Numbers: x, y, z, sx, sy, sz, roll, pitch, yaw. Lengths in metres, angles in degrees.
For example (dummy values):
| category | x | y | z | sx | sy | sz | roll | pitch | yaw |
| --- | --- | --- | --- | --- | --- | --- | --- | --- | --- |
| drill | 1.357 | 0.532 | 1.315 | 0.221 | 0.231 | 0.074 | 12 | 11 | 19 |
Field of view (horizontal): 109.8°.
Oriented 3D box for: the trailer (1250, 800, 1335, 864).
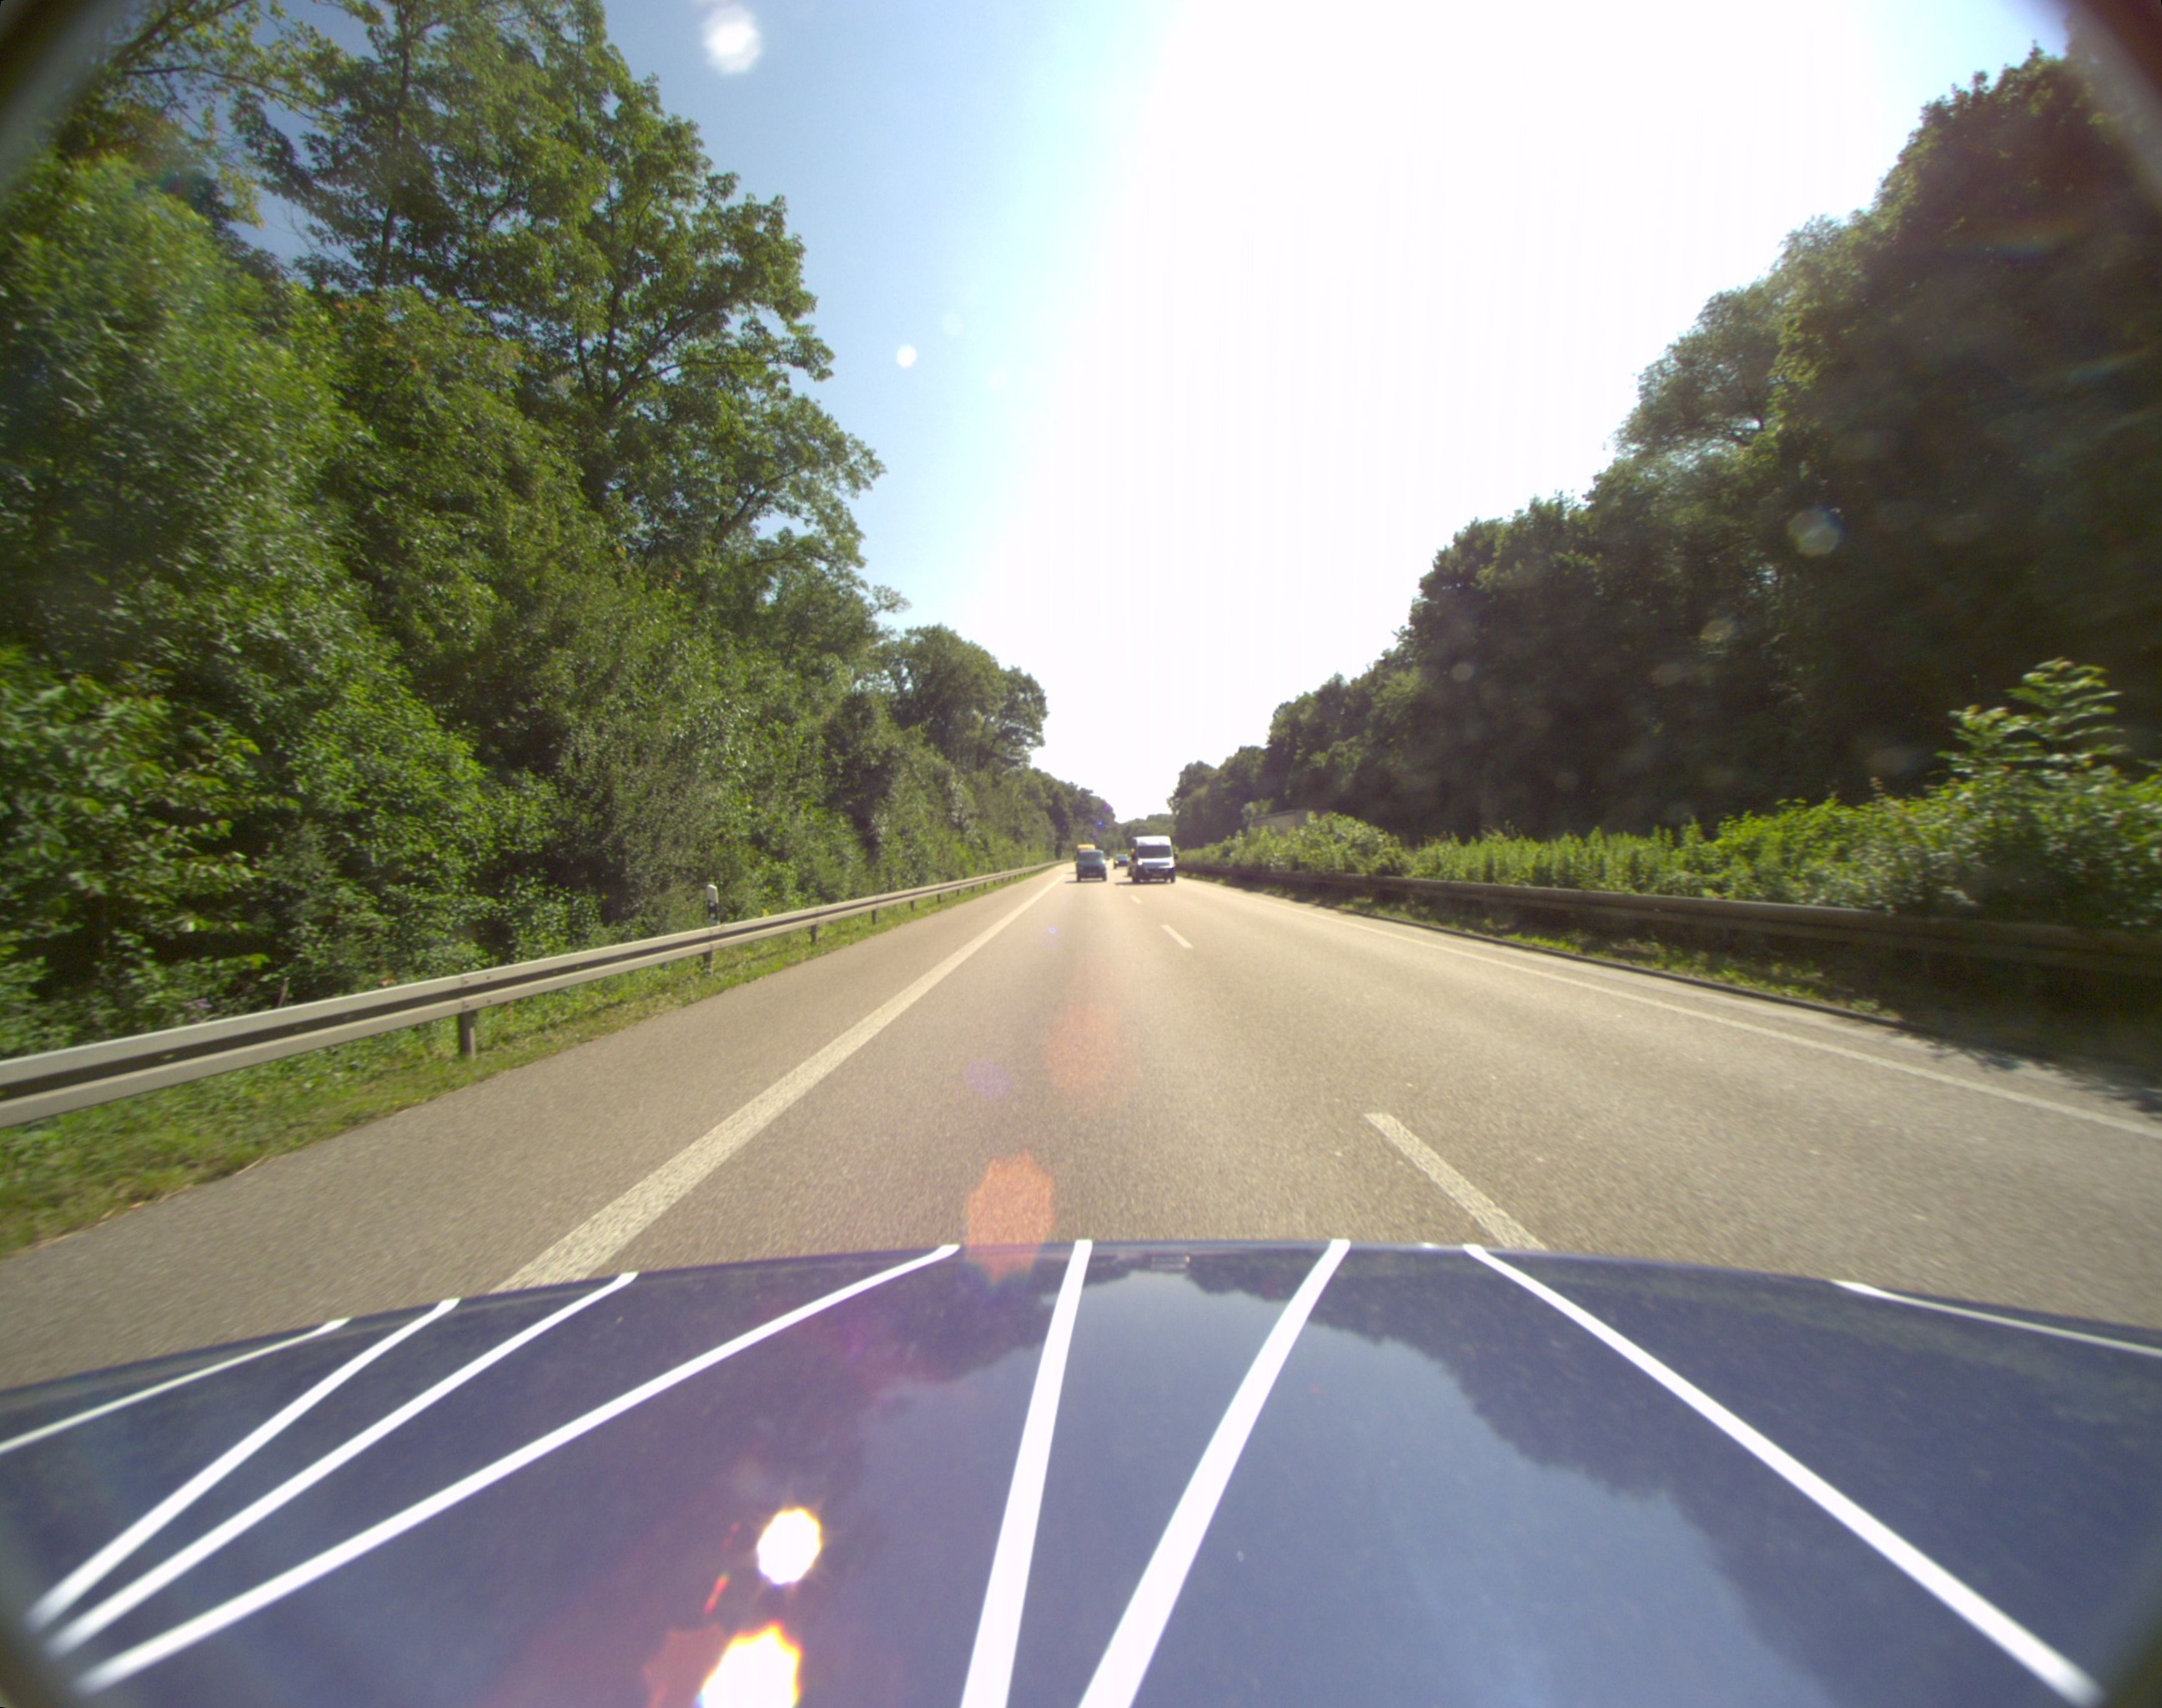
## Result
| category | x | y | z | sx | sy | sz | roll | pitch | yaw |
| --- | --- | --- | --- | --- | --- | --- | --- | --- | --- |
| trailer | 15.944 | -1.575 | 58.601 | 2.836 | 4.275 | 13.662 | -2 | 1 | 1 |

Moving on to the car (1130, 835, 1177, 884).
| category | x | y | z | sx | sy | sz | roll | pitch | yaw |
| --- | --- | --- | --- | --- | --- | --- | --- | --- | --- |
| car | 3.831 | 0.249 | 40.737 | 2.046 | 2.429 | 4.637 | -2 | 1 | 1 |

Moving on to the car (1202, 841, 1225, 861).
| category | x | y | z | sx | sy | sz | roll | pitch | yaw |
| --- | --- | --- | --- | --- | --- | --- | --- | --- | --- |
| car | 12.330 | -0.294 | 70.962 | 1.611 | 1.696 | 3.481 | -2 | 1 | 1 |

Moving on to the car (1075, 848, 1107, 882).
| category | x | y | z | sx | sy | sz | roll | pitch | yaw |
| --- | --- | --- | --- | --- | --- | --- | --- | --- | --- |
| car | 0.620 | 0.602 | 46.981 | 1.812 | 1.921 | 4.581 | -2 | 1 | 1 |

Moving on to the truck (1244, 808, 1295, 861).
| category | x | y | z | sx | sy | sz | roll | pitch | yaw |
| --- | --- | --- | --- | --- | --- | --- | --- | --- | --- |
| truck | 16.064 | -1.657 | 65.161 | 2.724 | 4.219 | 6.536 | -2 | 1 | 1 |

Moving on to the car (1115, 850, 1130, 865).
| category | x | y | z | sx | sy | sz | roll | pitch | yaw |
| --- | --- | --- | --- | --- | --- | --- | --- | --- | --- |
| car | 4.722 | 0.390 | 85.929 | 1.517 | 1.624 | 3.611 | -2 | 1 | 1 |

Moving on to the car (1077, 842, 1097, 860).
| category | x | y | z | sx | sy | sz | roll | pitch | yaw |
| --- | --- | --- | --- | --- | --- | --- | --- | --- | --- |
| car | 0.591 | -0.296 | 72.541 | 1.737 | 1.624 | 3.899 | -2 | 1 | 1 |
